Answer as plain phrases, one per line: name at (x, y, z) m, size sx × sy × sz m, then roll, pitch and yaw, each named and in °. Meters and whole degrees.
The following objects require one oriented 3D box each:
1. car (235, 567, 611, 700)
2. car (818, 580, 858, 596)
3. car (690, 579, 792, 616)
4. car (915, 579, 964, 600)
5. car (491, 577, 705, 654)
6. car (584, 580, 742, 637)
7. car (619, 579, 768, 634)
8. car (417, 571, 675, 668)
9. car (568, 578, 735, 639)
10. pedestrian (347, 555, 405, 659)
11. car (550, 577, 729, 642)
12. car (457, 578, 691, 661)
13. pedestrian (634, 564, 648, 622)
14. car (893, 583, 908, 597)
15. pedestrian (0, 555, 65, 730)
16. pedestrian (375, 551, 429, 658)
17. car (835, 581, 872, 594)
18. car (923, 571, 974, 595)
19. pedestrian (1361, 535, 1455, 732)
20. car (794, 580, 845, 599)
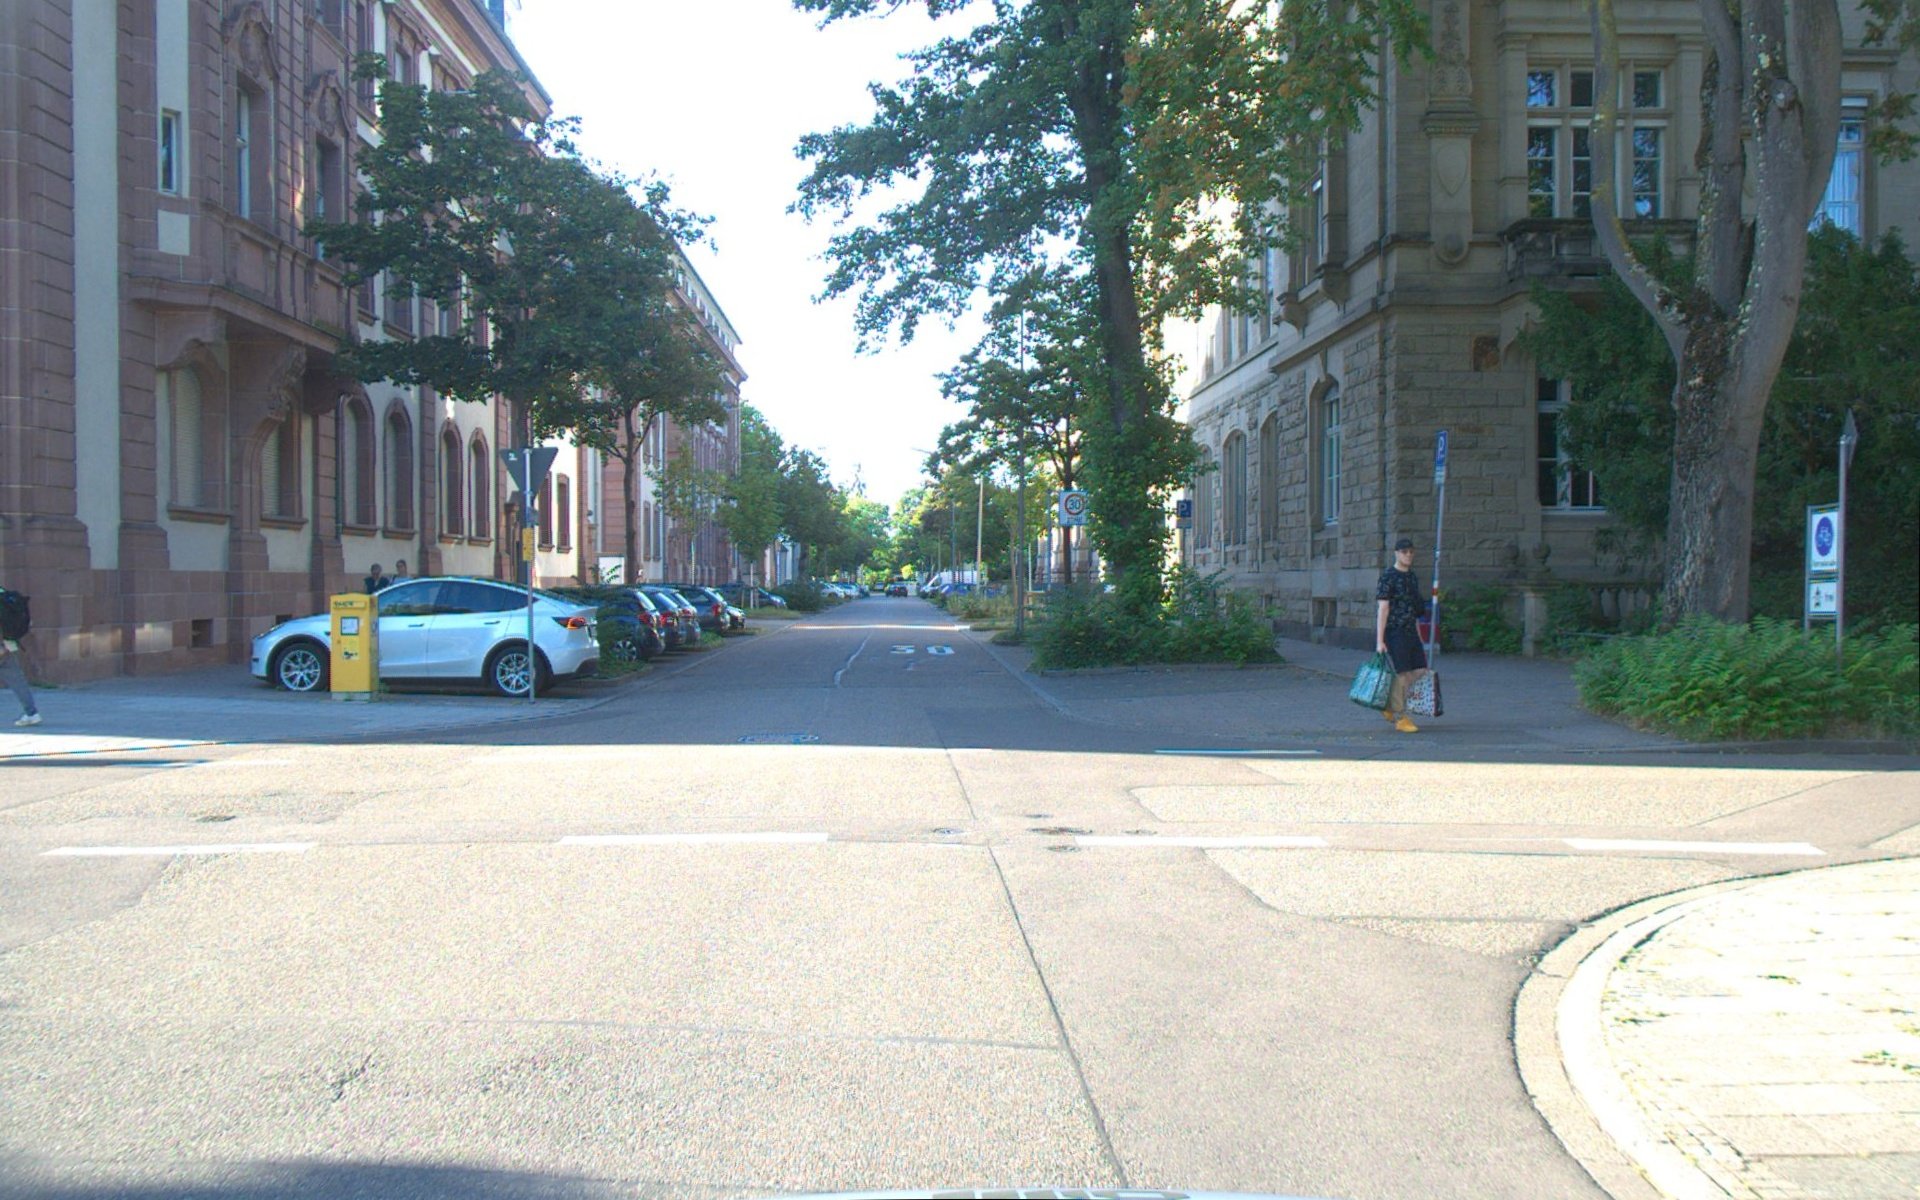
car at (-7.391, 0.444, 23.172) m, size 4.615 × 1.617 × 1.965 m, roll 2°, pitch 0°, yaw -5°
car at (-12.389, -1.232, 167.964) m, size 4.007 × 1.520 × 1.932 m, roll 0°, pitch 1°, yaw -2°
car at (-9.791, -0.109, 74.158) m, size 4.291 × 1.522 × 1.966 m, roll 1°, pitch 0°, yaw -3°
car at (-1.674, -0.857, 133.719) m, size 3.907 × 1.646 × 1.788 m, roll 0°, pitch 1°, yaw -2°
car at (-7.808, 0.321, 35.998) m, size 4.293 × 1.522 × 1.965 m, roll 1°, pitch 0°, yaw -5°
car at (-8.521, 0.227, 47.761) m, size 4.293 × 1.522 × 1.965 m, roll 1°, pitch 0°, yaw -5°
car at (-7.998, 0.188, 49.993) m, size 4.293 × 1.522 × 1.965 m, roll 1°, pitch 0°, yaw -5°
car at (-7.497, 0.342, 30.346) m, size 4.293 × 1.612 × 1.965 m, roll 1°, pitch 0°, yaw -5°
car at (-8.381, 0.212, 45.273) m, size 4.293 × 1.522 × 1.965 m, roll 1°, pitch 0°, yaw -5°
pedestrian at (-10.723, 0.116, 30.381) m, size 0.771 × 1.872 × 0.717 m, roll 1°, pitch 0°, yaw 0°
car at (-8.212, 0.229, 42.682) m, size 4.293 × 1.522 × 1.965 m, roll 1°, pitch 0°, yaw -5°
car at (-7.671, 0.379, 33.221) m, size 4.293 × 1.522 × 1.965 m, roll 1°, pitch 0°, yaw -5°
pedestrian at (-11.370, -0.254, 58.961) m, size 0.426 × 2.049 × 0.463 m, roll 0°, pitch 0°, yaw -2°
car at (-7.506, -1.287, 209.298) m, size 1.710 × 1.735 × 3.670 m, roll 0°, pitch 1°, yaw -5°
pedestrian at (-9.824, 0.428, 16.935) m, size 0.979 × 1.748 × 0.534 m, roll 0°, pitch 3°, yaw -1°
pedestrian at (-9.983, 0.073, 29.609) m, size 0.709 × 1.872 × 0.613 m, roll 2°, pitch 0°, yaw 0°
car at (-12.024, -1.413, 186.918) m, size 4.007 × 1.520 × 1.932 m, roll 0°, pitch 1°, yaw -2°
car at (-1.060, -1.507, 149.327) m, size 4.610 × 2.140 × 1.999 m, roll 0°, pitch 0°, yaw -2°
pedestrian at (4.564, 0.330, 16.848) m, size 0.711 × 1.952 × 0.609 m, roll 0°, pitch 0°, yaw -25°
car at (-11.494, -0.830, 135.517) m, size 4.007 × 1.520 × 1.932 m, roll 0°, pitch 1°, yaw -2°
